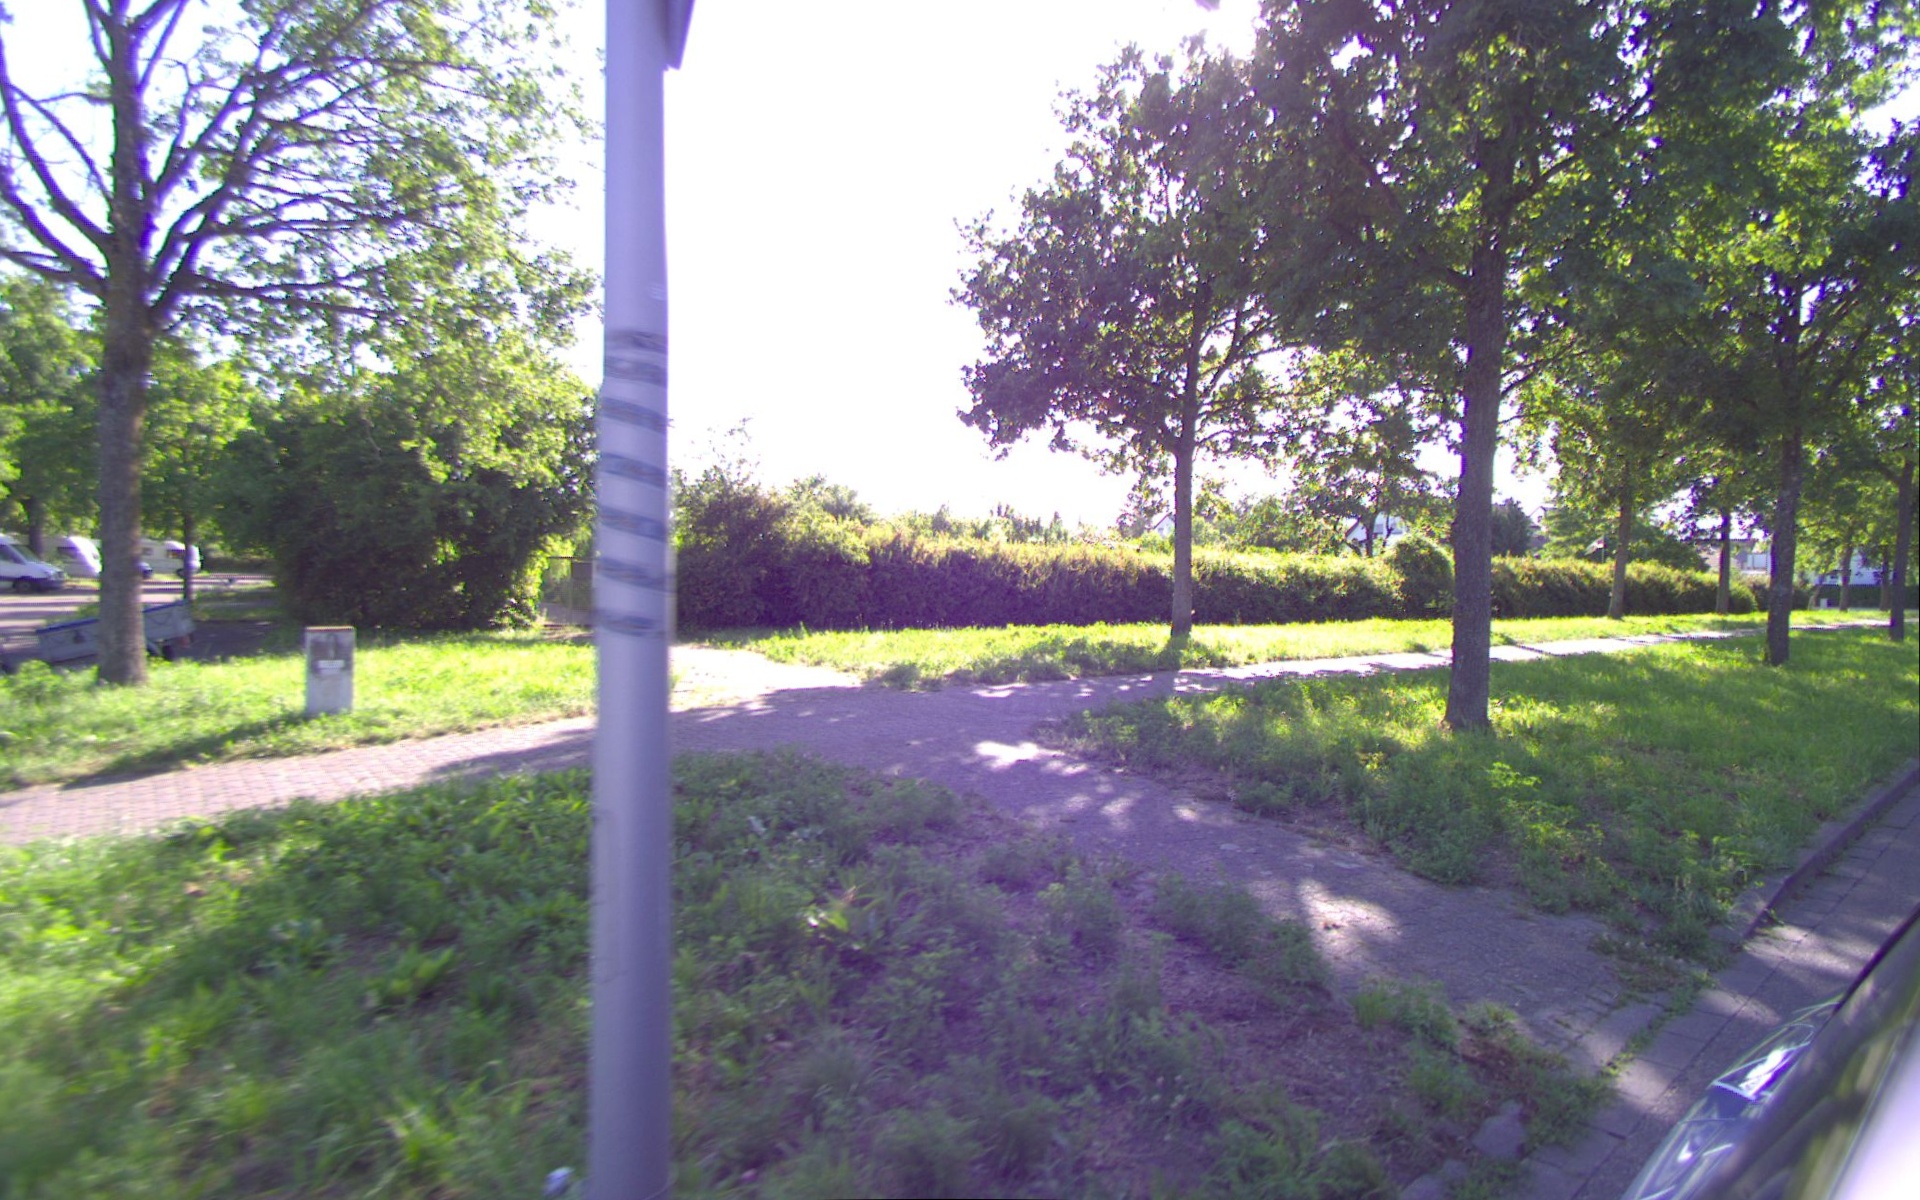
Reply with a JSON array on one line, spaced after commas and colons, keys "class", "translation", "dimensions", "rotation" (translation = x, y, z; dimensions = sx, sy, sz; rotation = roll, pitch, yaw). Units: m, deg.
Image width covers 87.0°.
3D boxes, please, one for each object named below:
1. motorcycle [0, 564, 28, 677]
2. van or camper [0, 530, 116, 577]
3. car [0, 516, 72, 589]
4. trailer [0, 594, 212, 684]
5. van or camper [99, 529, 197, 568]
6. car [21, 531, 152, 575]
[{"class": "motorcycle", "translation": [-11.782, 0.305, 10.929], "dimensions": [2.359, 1.246, 0.666], "rotation": [-5, 4, -30]}, {"class": "van or camper", "translation": [-50.387, -2.549, 55.877], "dimensions": [5.479, 2.451, 2.191], "rotation": [0, 2, -29]}, {"class": "car", "translation": [-40.451, -1.924, 41.618], "dimensions": [5.568, 2.947, 2.343], "rotation": [-1, 1, -32]}, {"class": "trailer", "translation": [-10.878, 0.454, 12.820], "dimensions": [2.014, 0.878, 1.586], "rotation": [-5, 4, -29]}, {"class": "van or camper", "translation": [-61.342, -3.847, 76.621], "dimensions": [5.480, 2.799, 2.412], "rotation": [0, 2, -30]}, {"class": "car", "translation": [-50.882, -2.691, 59.157], "dimensions": [5.464, 2.444, 2.205], "rotation": [-1, 1, -32]}]
